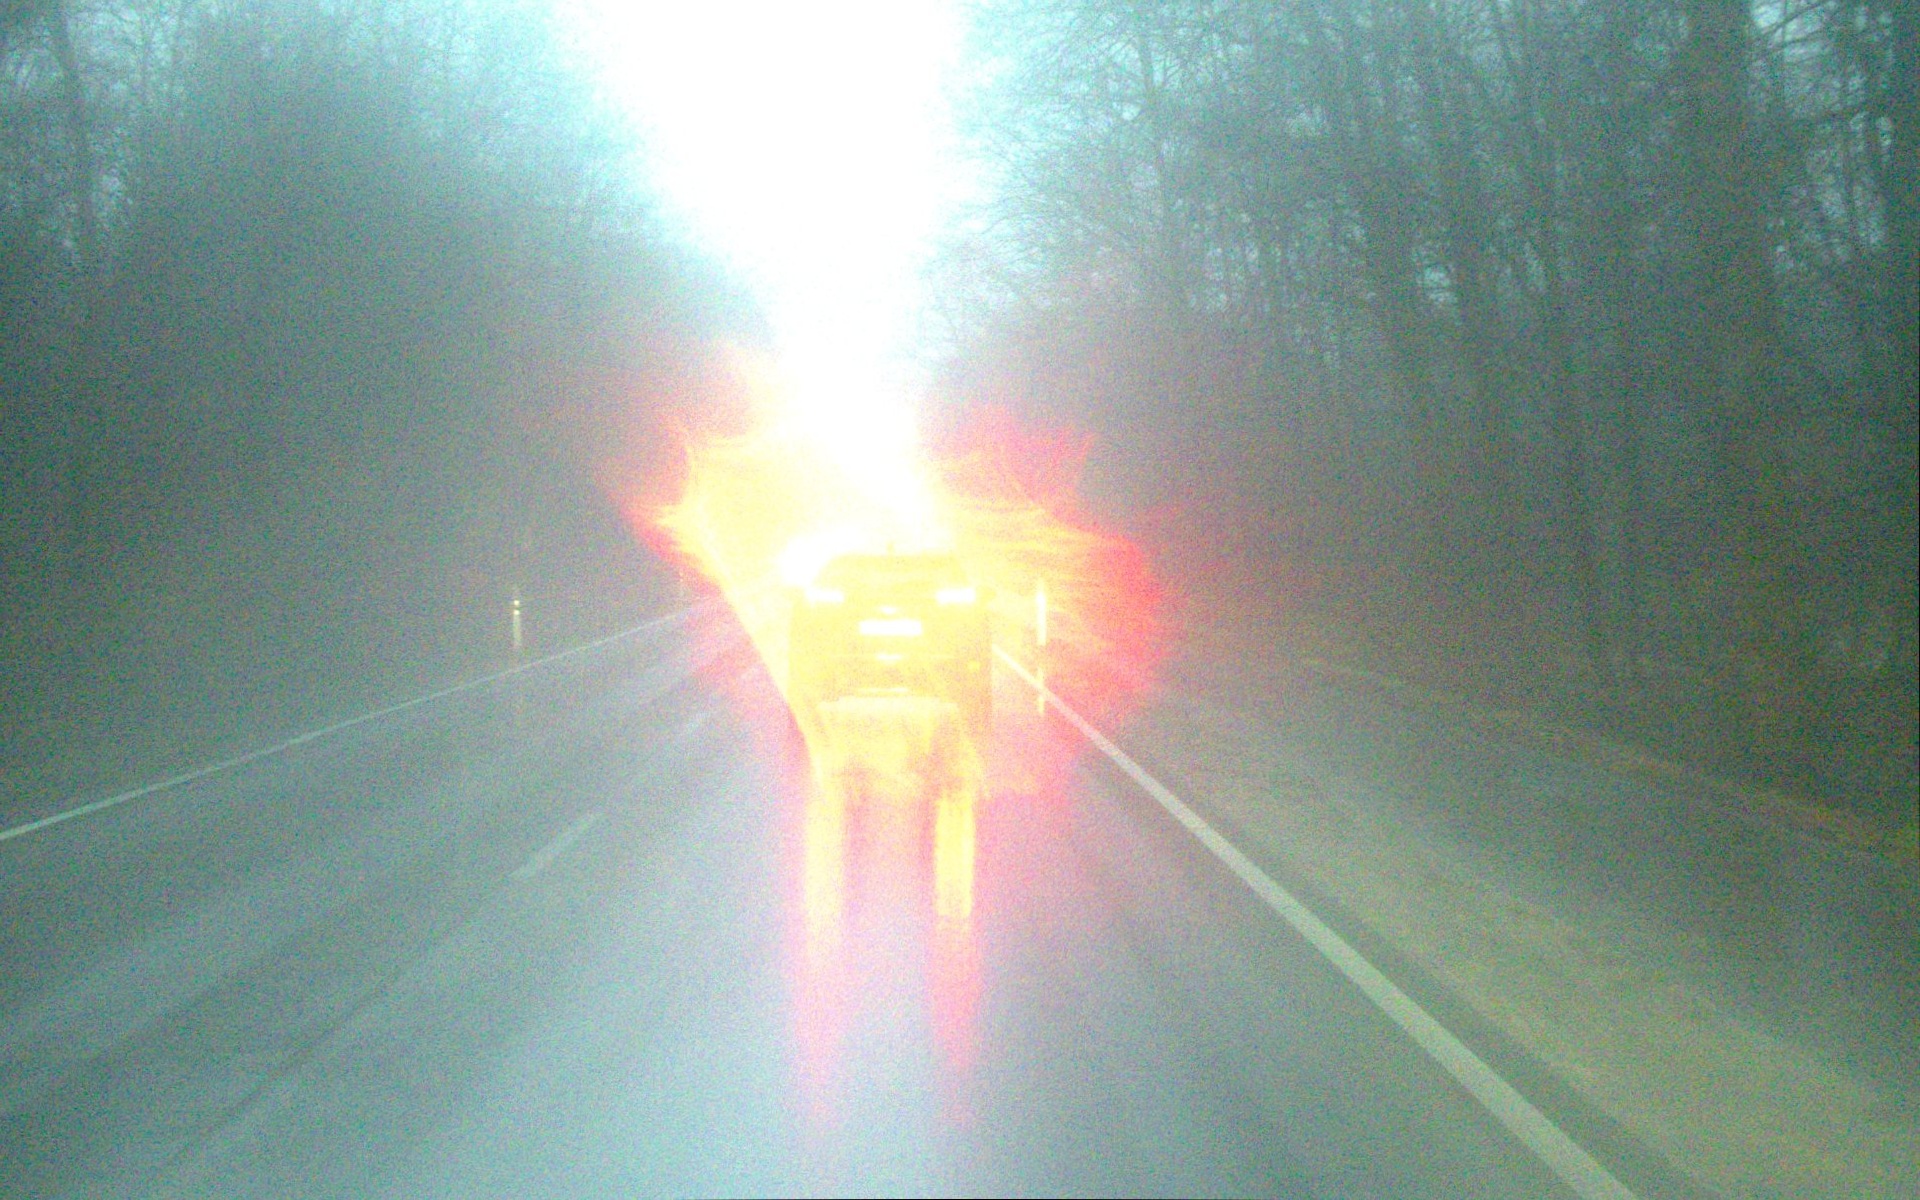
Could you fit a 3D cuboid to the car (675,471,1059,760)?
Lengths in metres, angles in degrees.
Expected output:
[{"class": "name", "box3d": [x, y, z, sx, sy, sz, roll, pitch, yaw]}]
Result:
[{"class": "car", "box3d": [-0.812, 0.092, 32.140, 3.183, 2.378, 6.636, 1, 1, -1]}]
